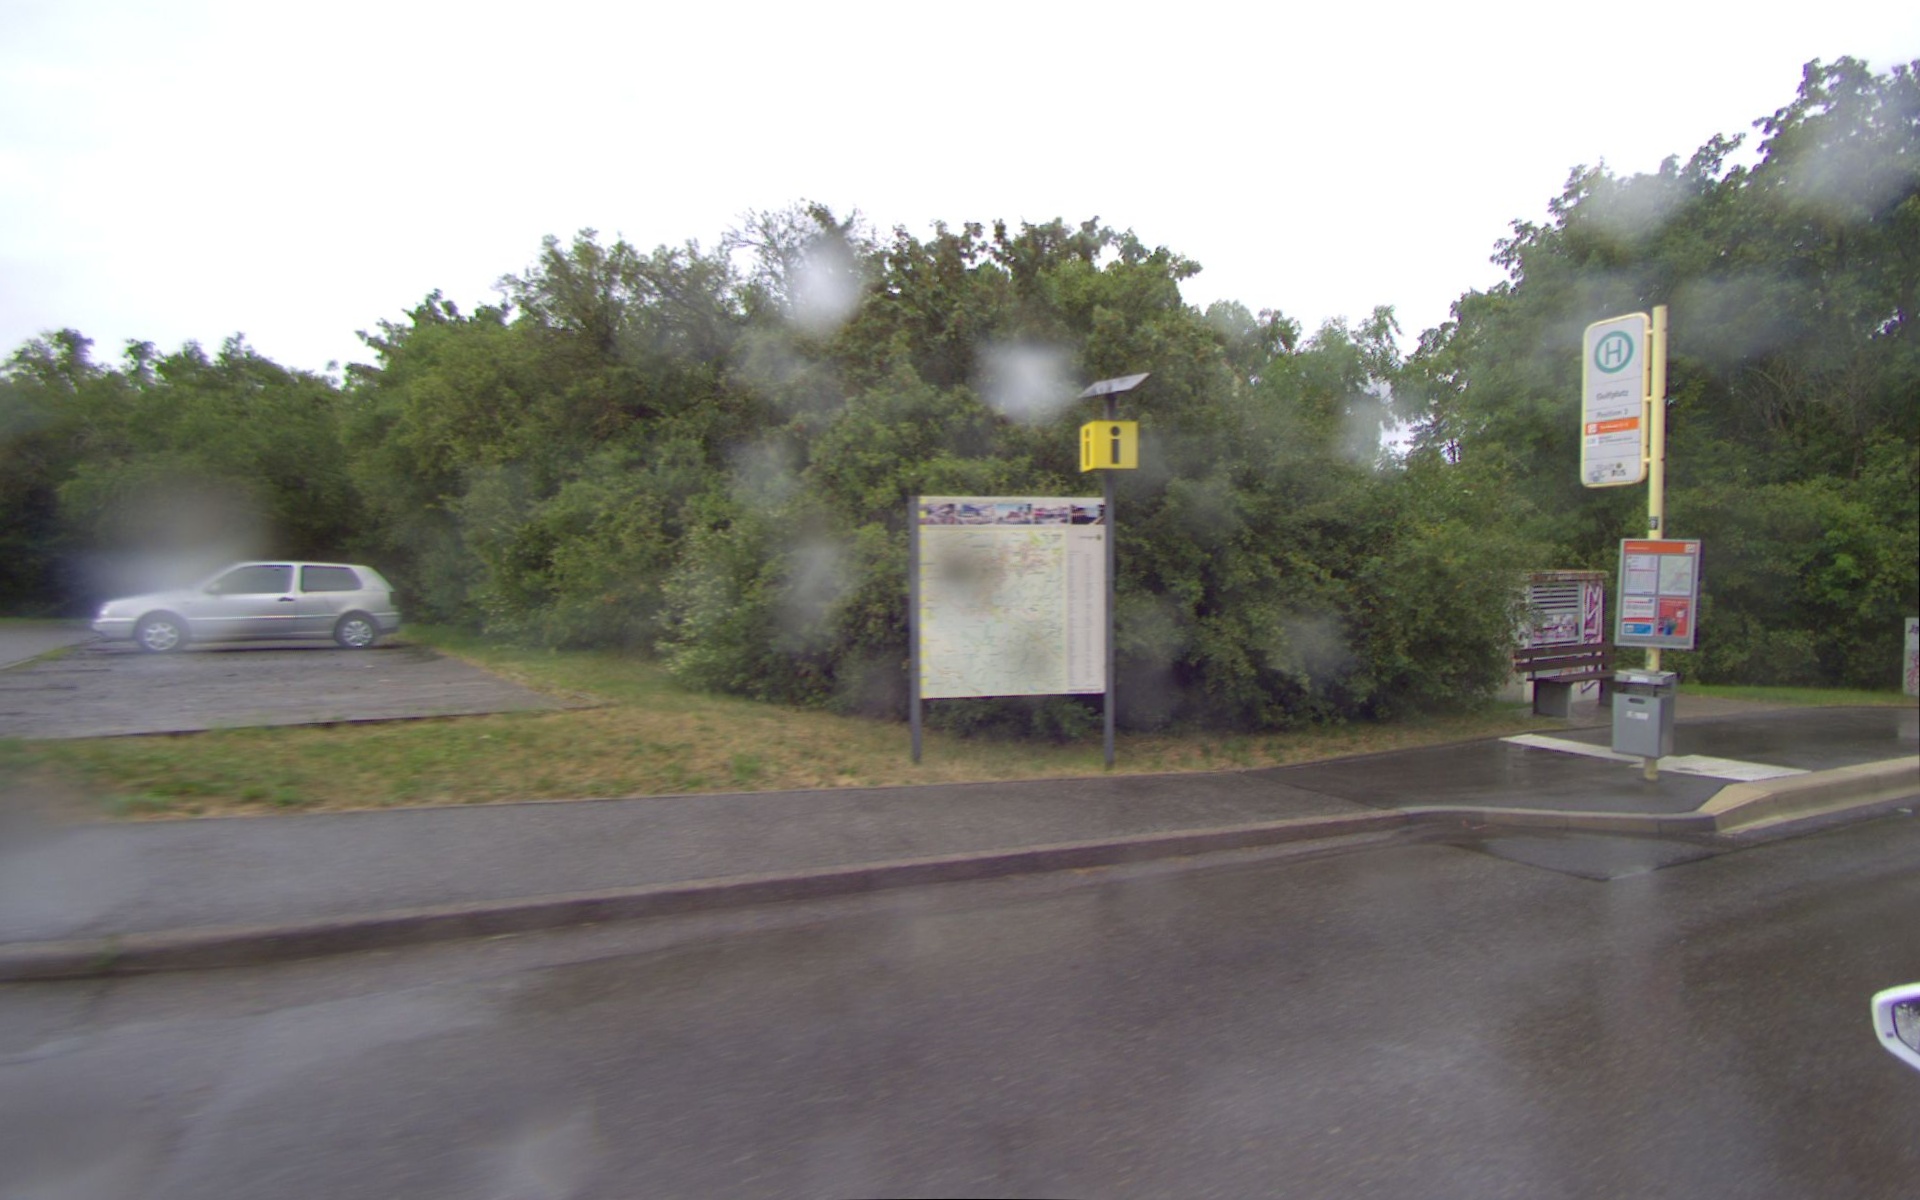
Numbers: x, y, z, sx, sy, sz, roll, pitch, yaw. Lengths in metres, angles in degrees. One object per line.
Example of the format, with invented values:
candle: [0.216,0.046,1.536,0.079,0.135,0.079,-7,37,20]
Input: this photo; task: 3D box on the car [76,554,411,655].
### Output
car: [-11.157,0.042,15.955,4.130,1.417,1.680,0,1,-35]
